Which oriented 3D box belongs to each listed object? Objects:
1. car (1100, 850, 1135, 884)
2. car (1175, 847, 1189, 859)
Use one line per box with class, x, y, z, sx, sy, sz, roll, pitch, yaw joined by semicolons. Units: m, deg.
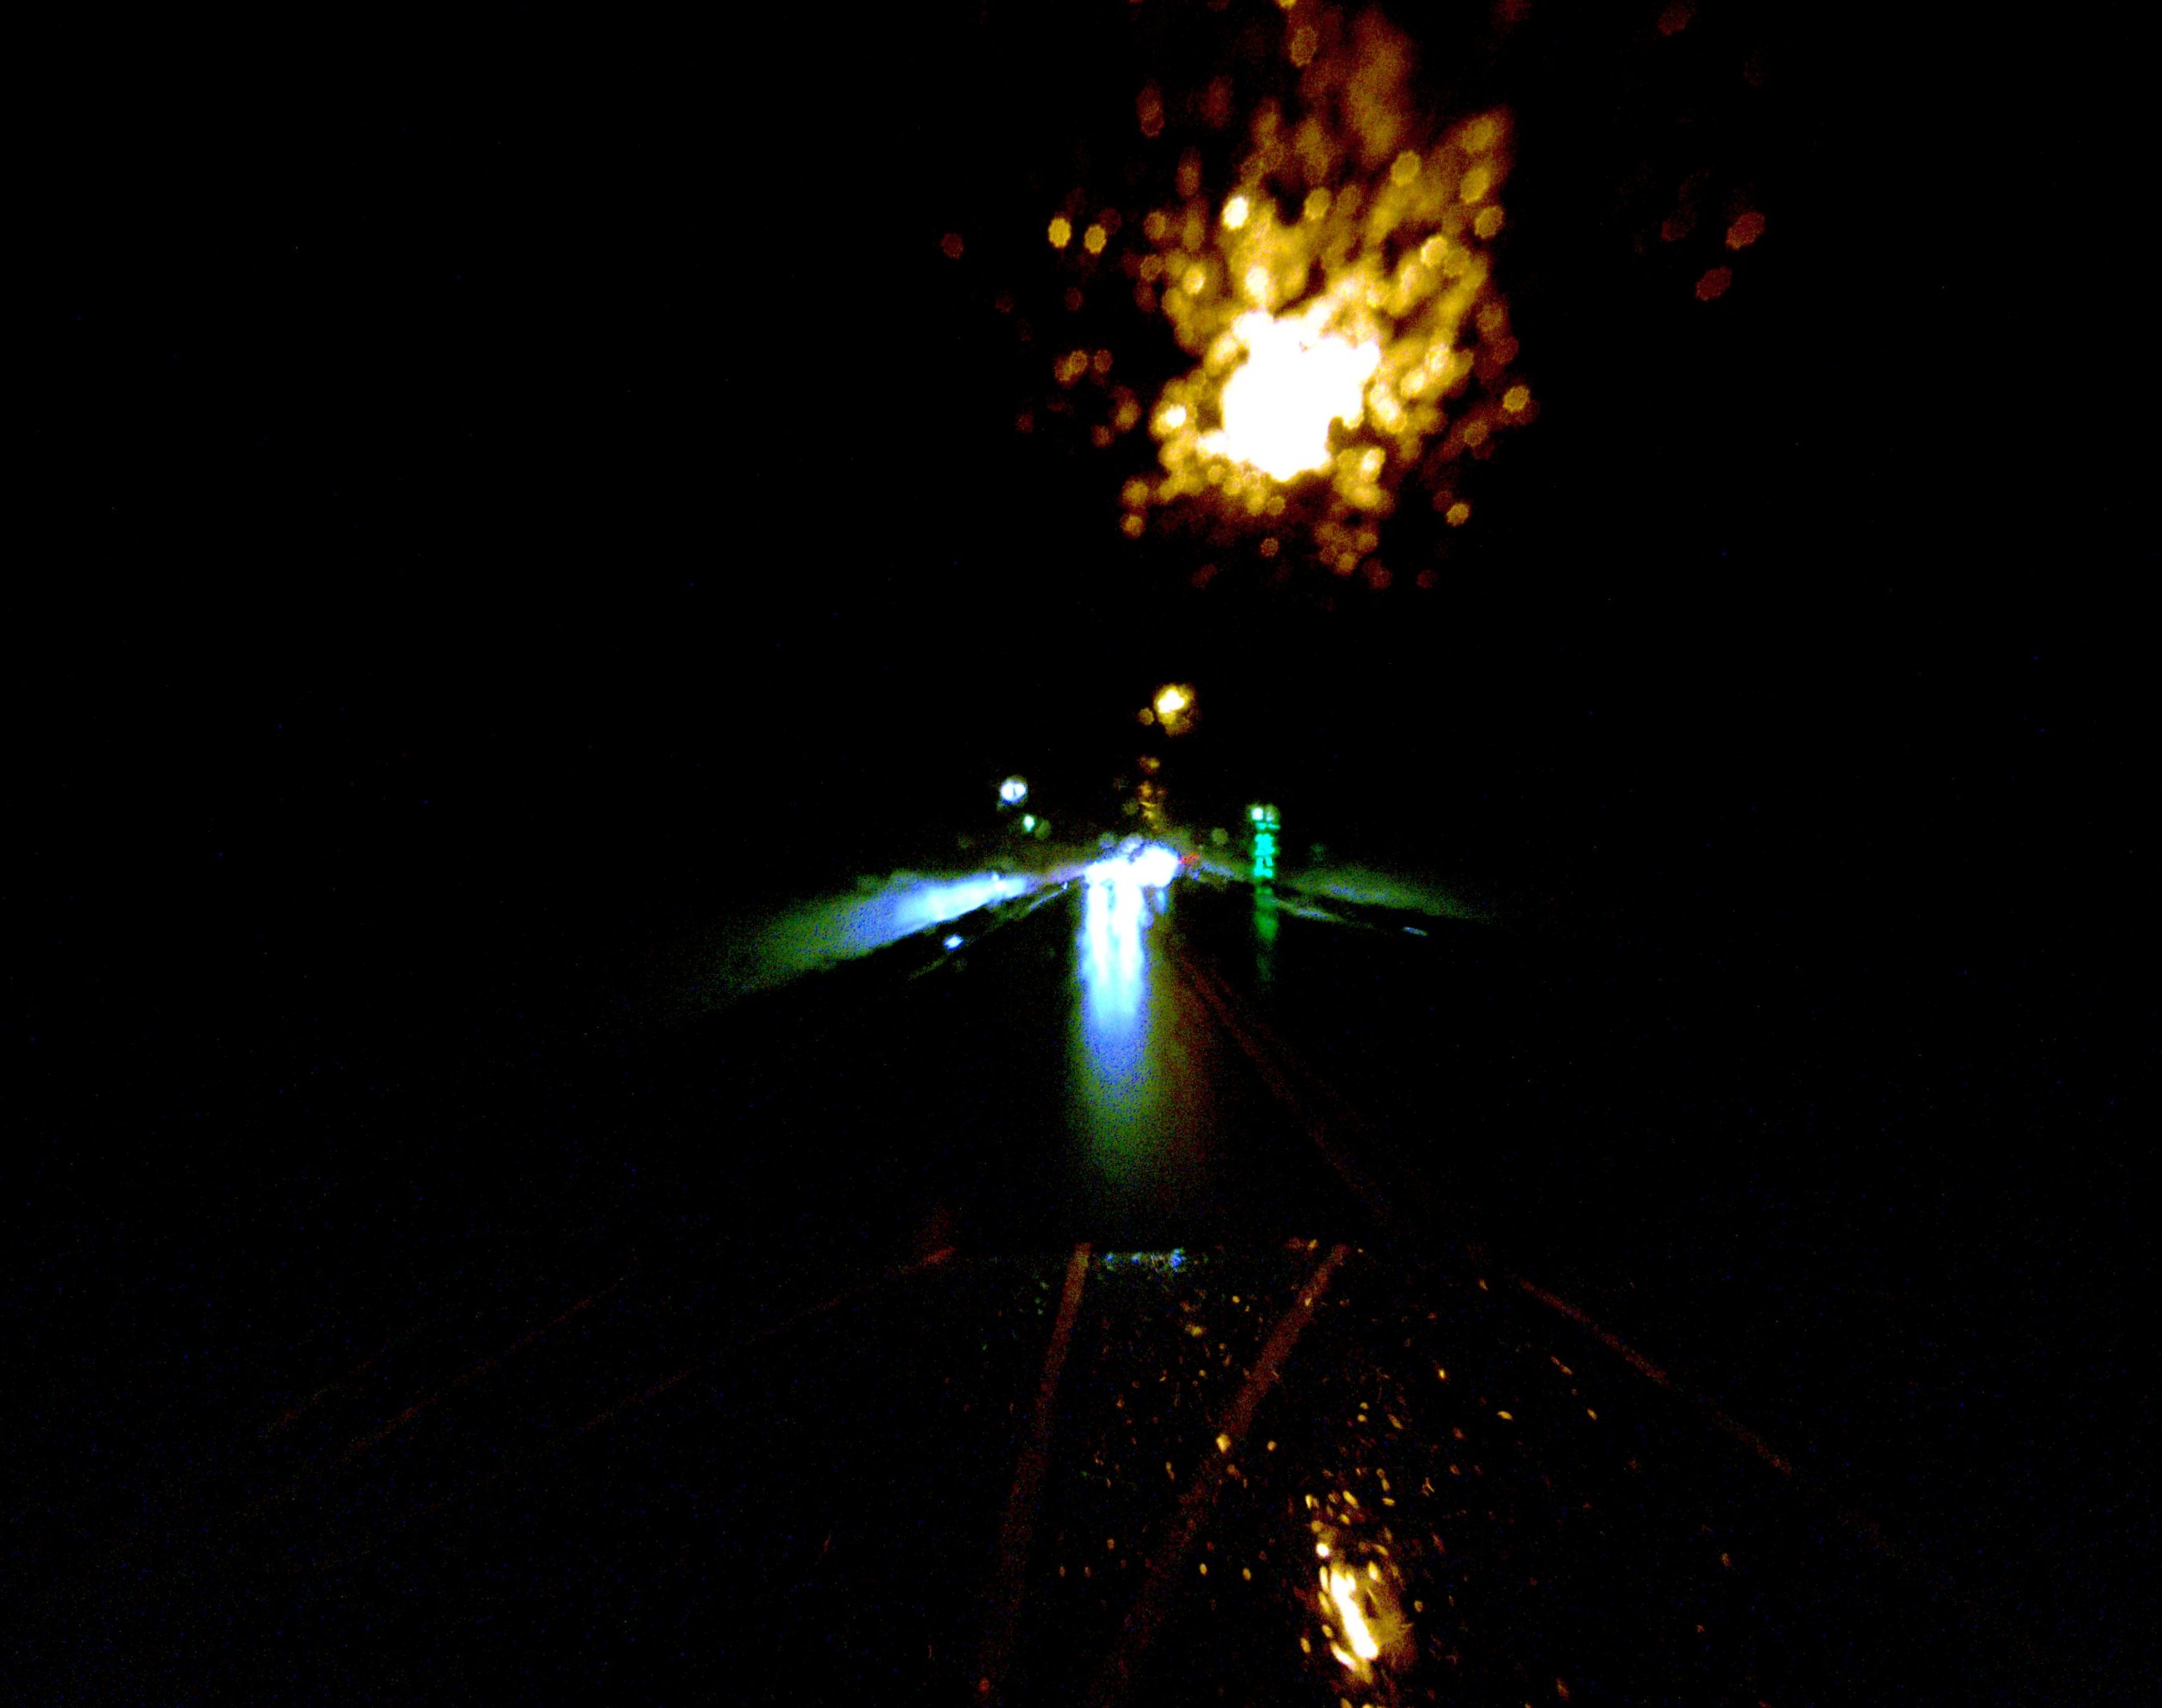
car;2.003;0.668;41.034;1.729;1.595;4.001;-4;0;4
car;14.037;-0.177;105.903;1.633;1.640;3.778;-2;0;12
